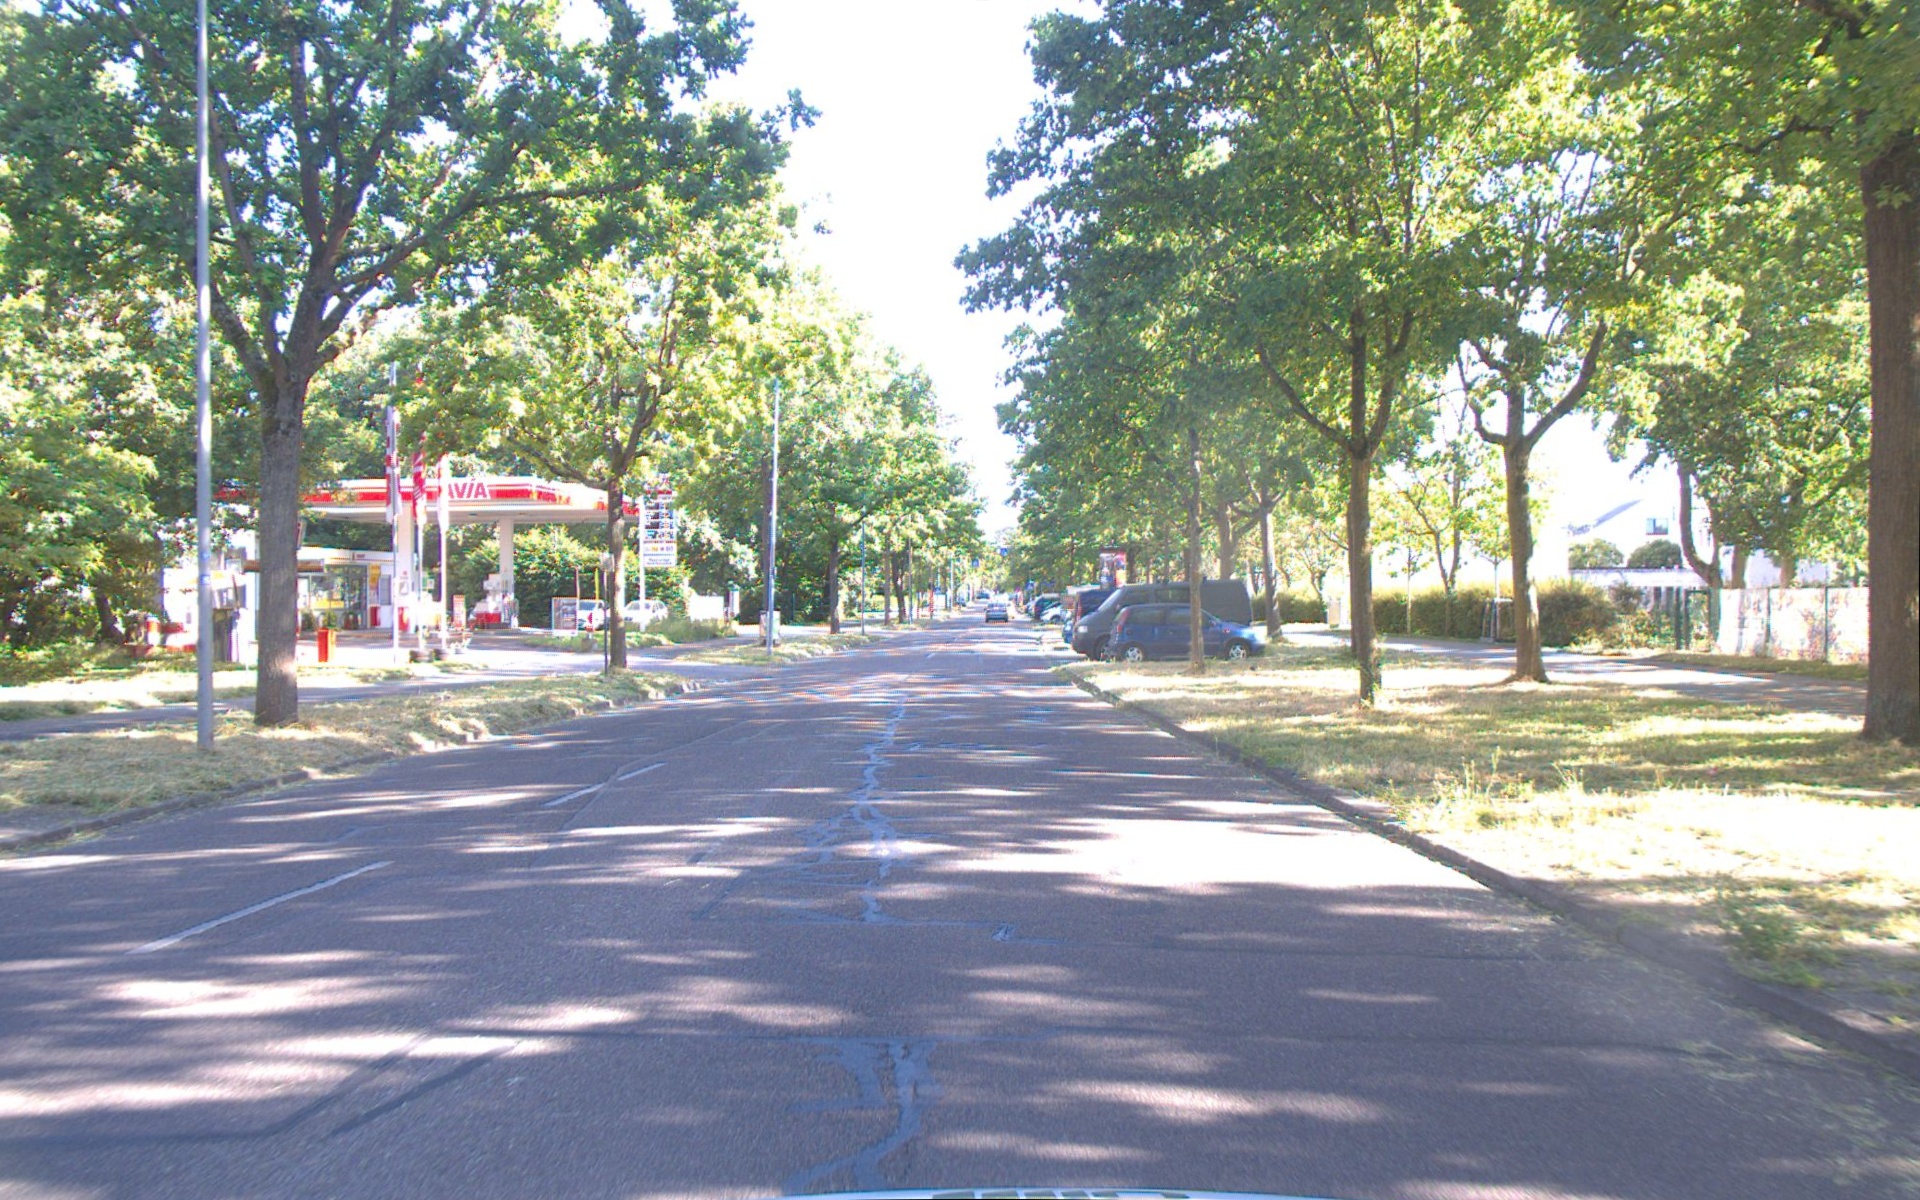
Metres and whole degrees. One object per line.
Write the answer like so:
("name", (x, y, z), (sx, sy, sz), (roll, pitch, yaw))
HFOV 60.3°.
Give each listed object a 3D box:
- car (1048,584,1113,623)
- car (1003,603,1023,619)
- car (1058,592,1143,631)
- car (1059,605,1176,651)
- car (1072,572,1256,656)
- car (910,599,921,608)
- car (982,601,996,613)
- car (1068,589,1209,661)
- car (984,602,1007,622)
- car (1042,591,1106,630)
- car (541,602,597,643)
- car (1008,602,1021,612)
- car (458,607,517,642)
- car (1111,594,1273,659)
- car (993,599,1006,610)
("car", (6.653, 0.211, 91.470), (3.494, 2.087, 1.633), (-1, -1, 0))
("car", (4.538, 0.954, 142.400), (1.627, 1.360, 3.665), (-1, -1, 0))
("car", (6.137, 0.510, 72.300), (3.578, 1.590, 1.317), (-1, -1, 0))
("car", (4.944, 0.890, 52.170), (3.578, 1.353, 1.317), (-1, -1, 0))
("car", (5.102, 0.371, 41.680), (4.410, 1.987, 1.687), (-1, -1, 0))
("car", (-6.642, 0.534, 249.631), (1.612, 1.451, 3.999), (-1, 0, -1))
("car", (3.498, 0.806, 198.464), (1.627, 1.360, 3.665), (-1, -1, 0))
("car", (4.739, 0.664, 44.169), (3.578, 1.829, 1.317), (-1, -1, 0))
("car", (2.607, 0.892, 123.140), (1.627, 1.360, 3.665), (-1, -1, 0))
("car", (6.493, 0.599, 94.200), (3.494, 2.087, 1.575), (-1, -1, 0))
("car", (-18.394, 1.062, 77.906), (1.764, 1.855, 3.804), (-1, -1, -1))
("car", (7.705, 0.995, 234.878), (1.699, 1.360, 3.667), (-1, -1, 5))
("car", (-22.743, 1.195, 79.712), (1.764, 1.649, 3.804), (-1, -1, 0))
("car", (5.391, 0.622, 38.692), (3.578, 1.423, 1.317), (-1, -1, 0))
("car", (5.315, 0.611, 220.490), (1.627, 1.360, 3.665), (-1, -1, 0))
